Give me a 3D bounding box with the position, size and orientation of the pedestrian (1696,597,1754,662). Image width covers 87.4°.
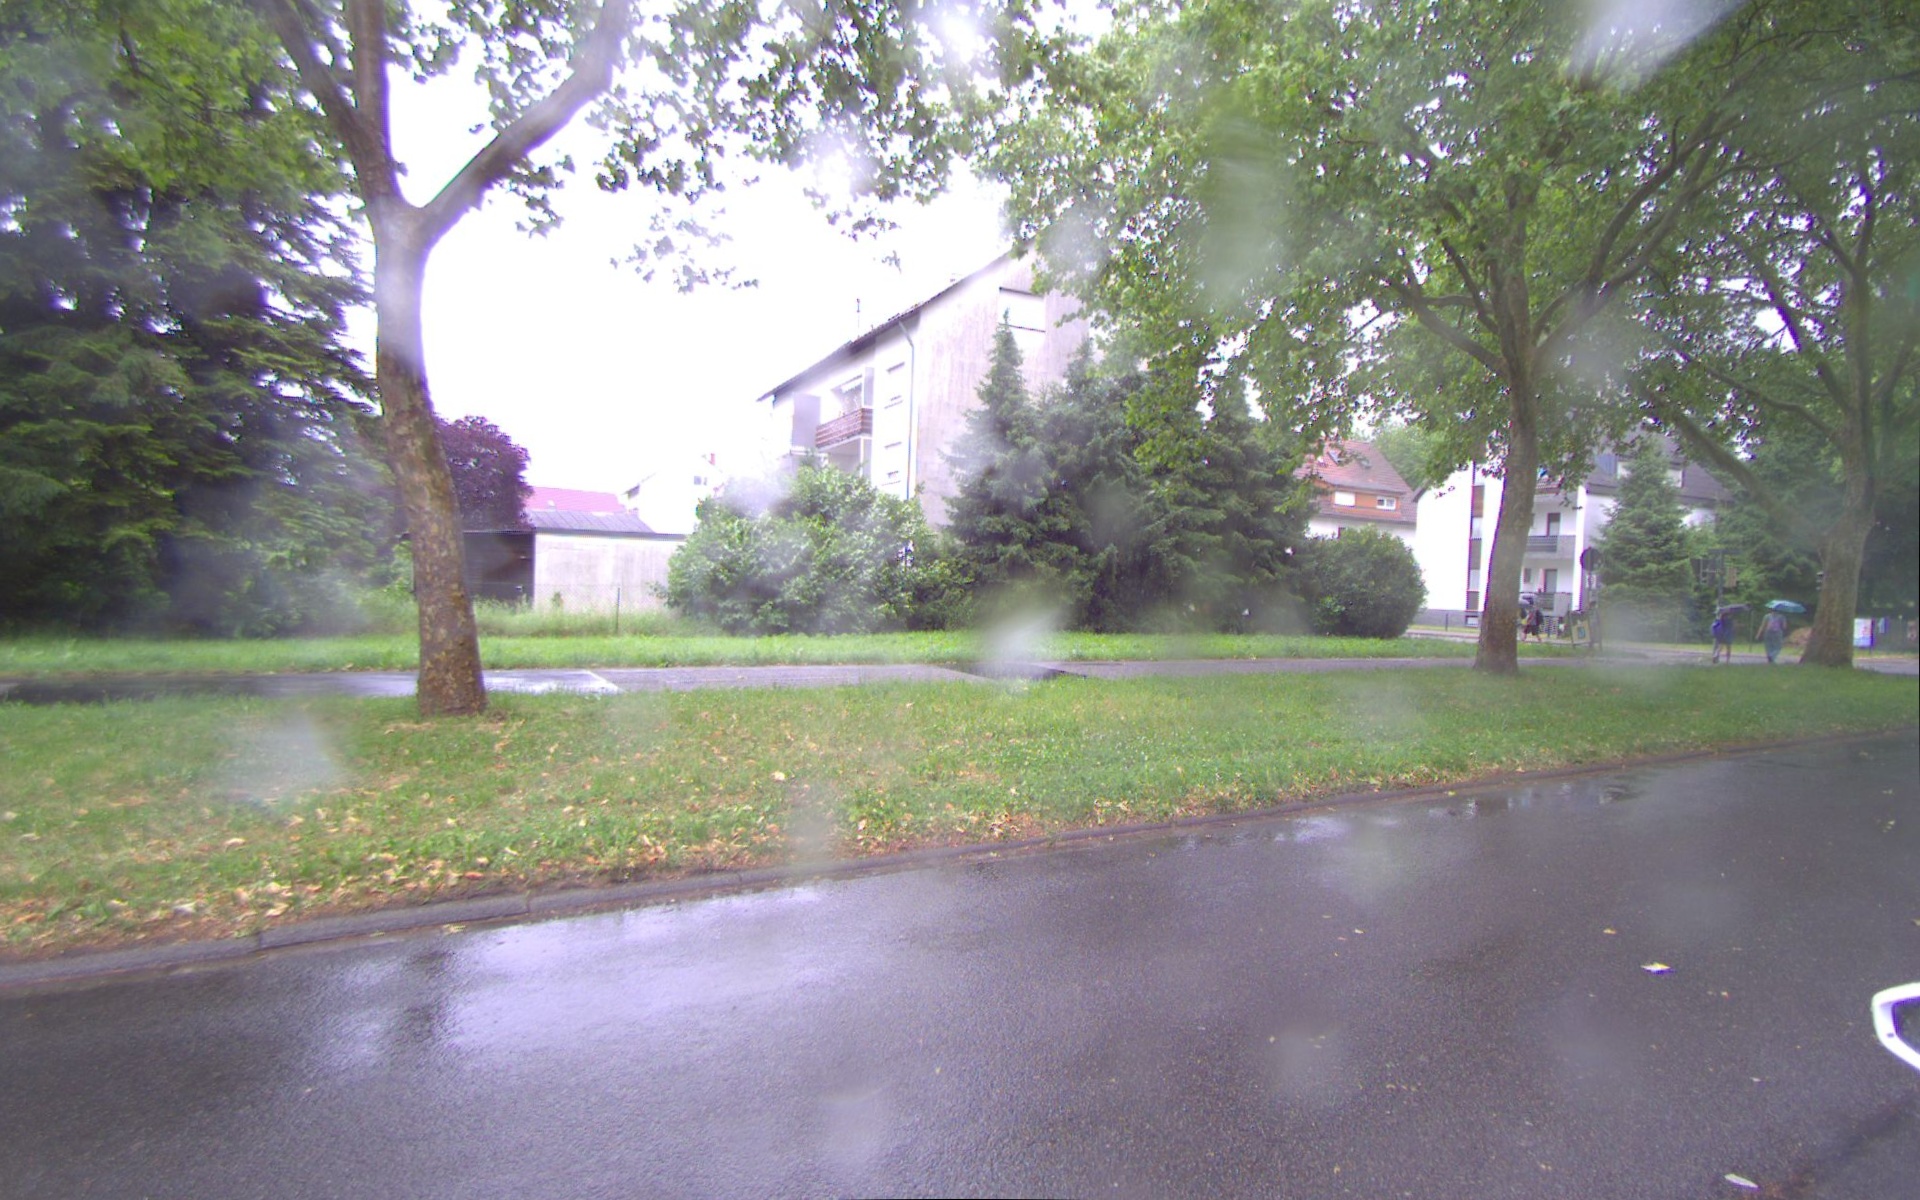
[{"bbox_3d":[21.755,0.815,28.588,0.869,1.789,1.028,1,1,-30],"label":"pedestrian"}]

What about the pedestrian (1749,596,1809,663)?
[{"bbox_3d":[22.551,0.799,27.658,0.828,1.789,1.028,1,1,-30],"label":"pedestrian"}]

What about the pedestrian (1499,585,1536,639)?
[{"bbox_3d":[18.716,0.410,33.734,0.633,1.768,0.815,1,1,-33],"label":"pedestrian"}]

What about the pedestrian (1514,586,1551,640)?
[{"bbox_3d":[19.512,0.438,34.238,0.633,1.768,0.854,1,1,-33],"label":"pedestrian"}]
